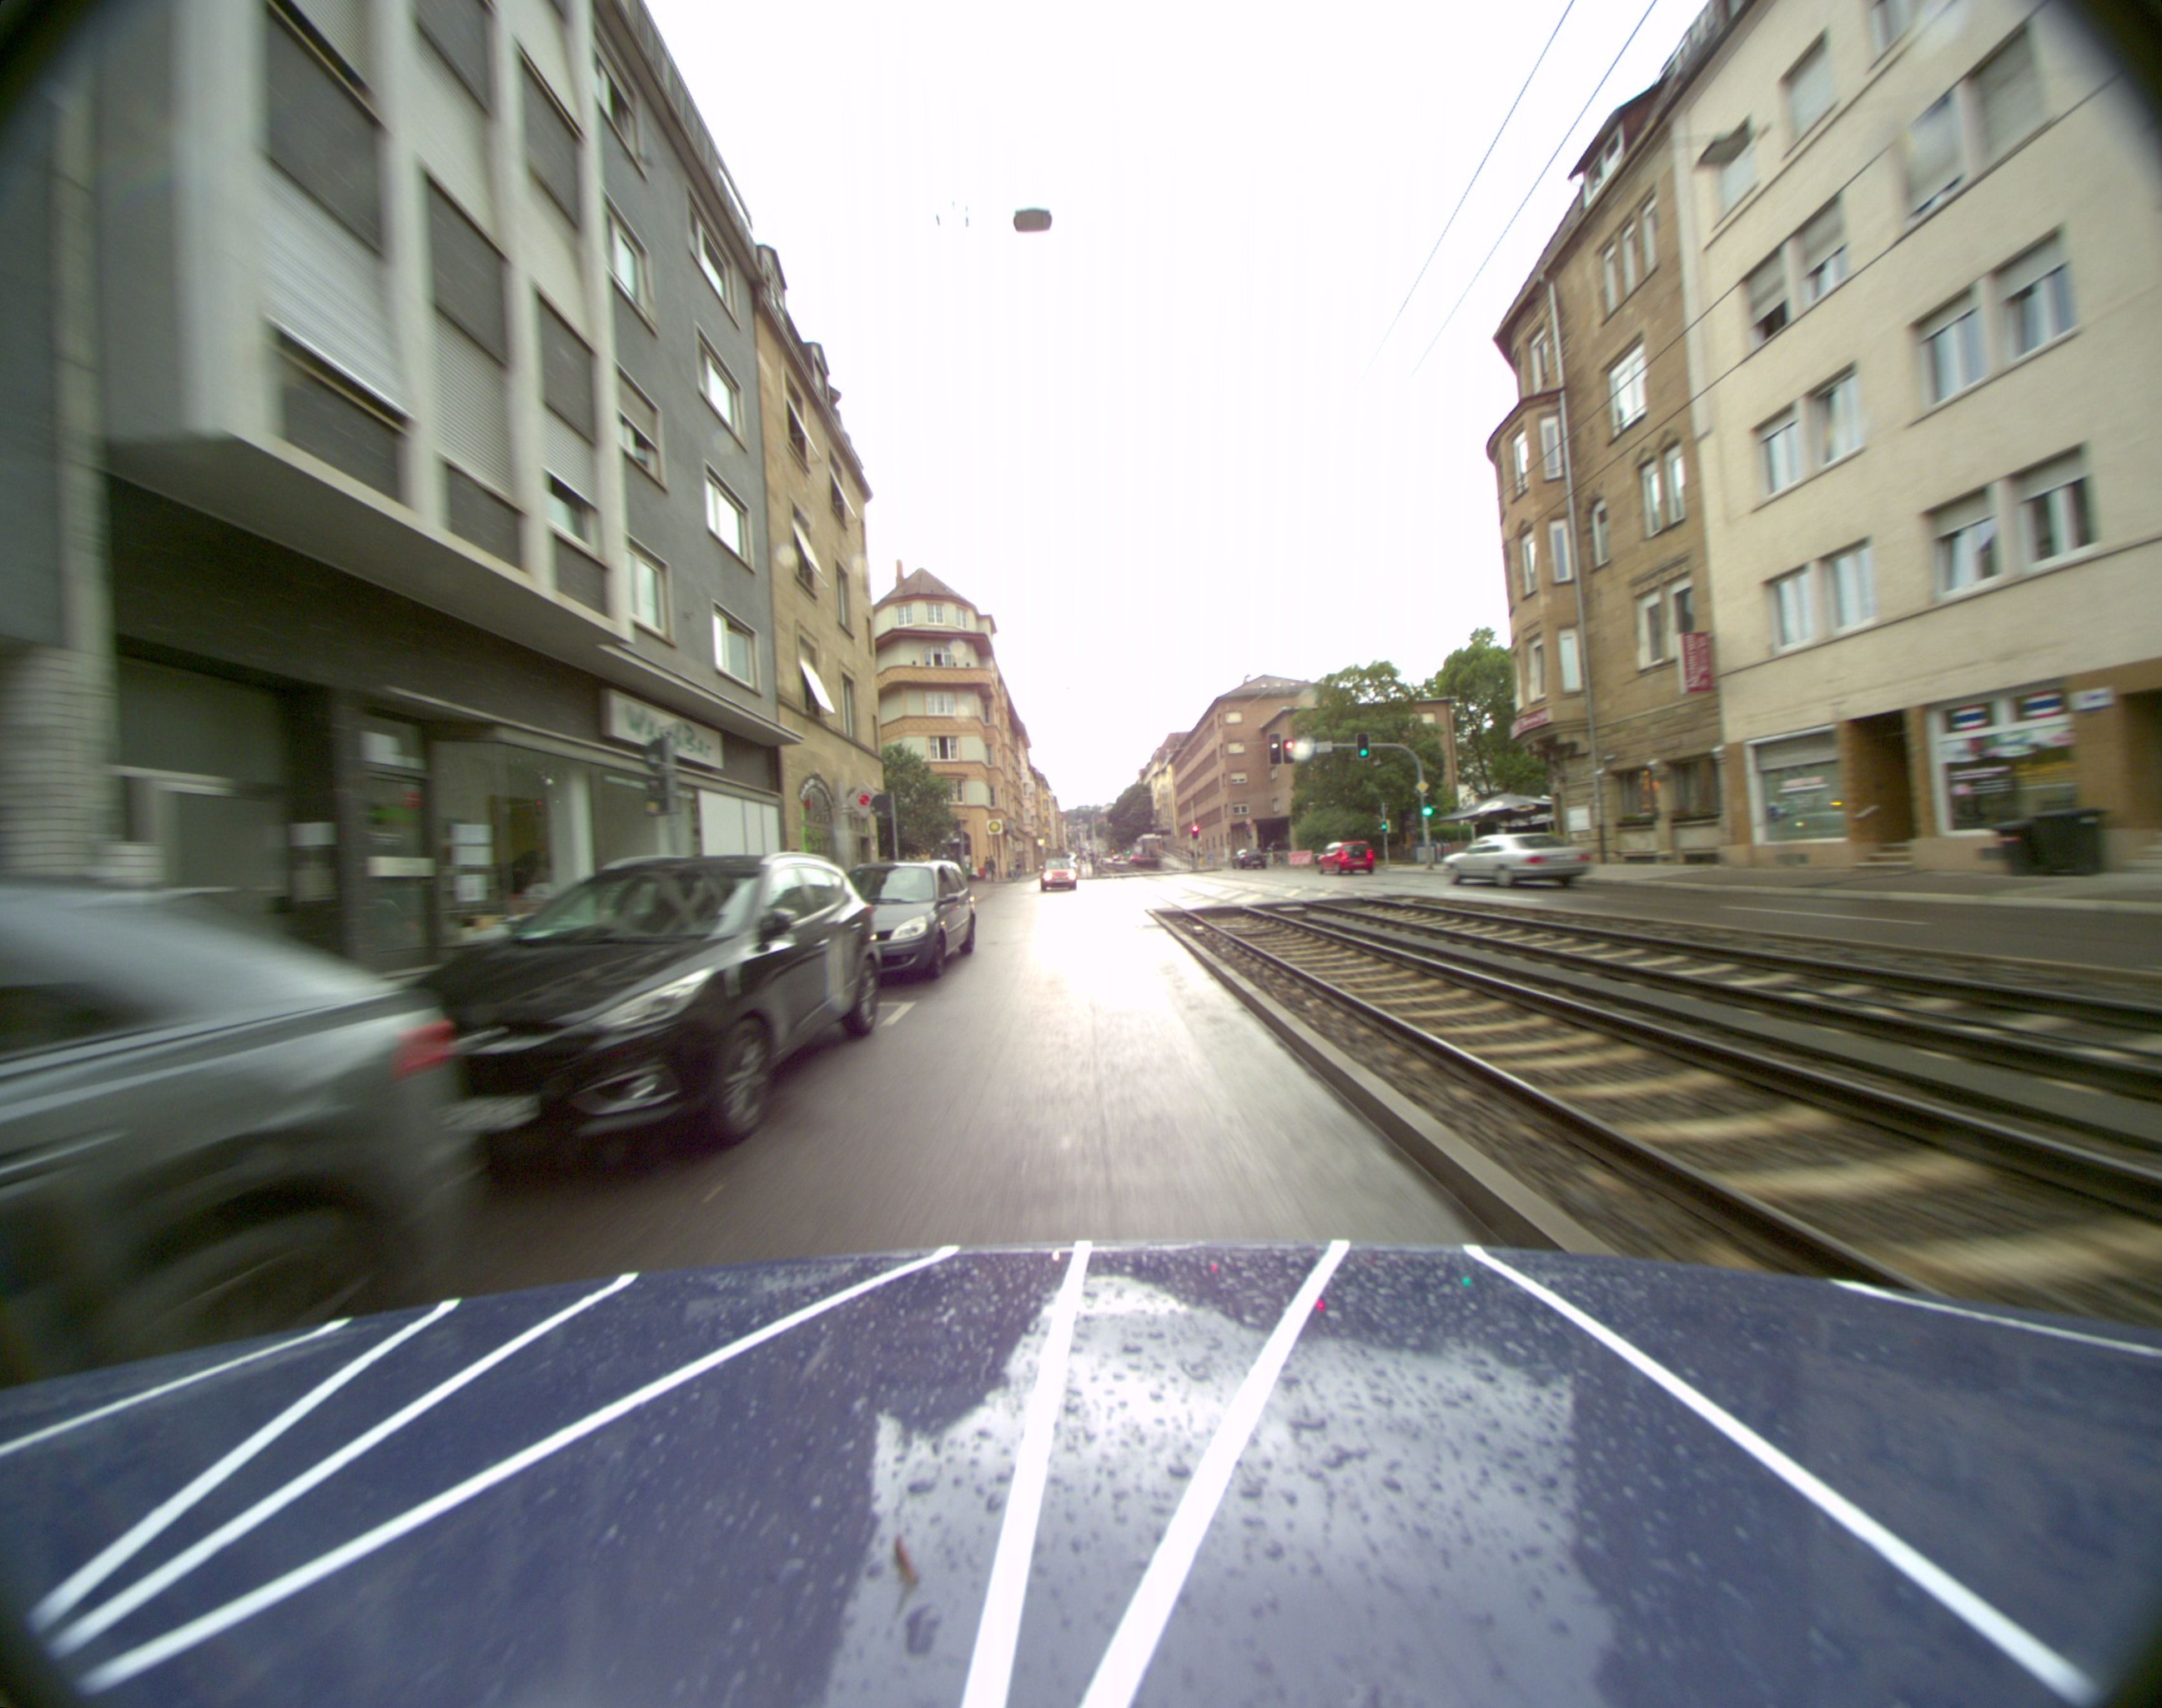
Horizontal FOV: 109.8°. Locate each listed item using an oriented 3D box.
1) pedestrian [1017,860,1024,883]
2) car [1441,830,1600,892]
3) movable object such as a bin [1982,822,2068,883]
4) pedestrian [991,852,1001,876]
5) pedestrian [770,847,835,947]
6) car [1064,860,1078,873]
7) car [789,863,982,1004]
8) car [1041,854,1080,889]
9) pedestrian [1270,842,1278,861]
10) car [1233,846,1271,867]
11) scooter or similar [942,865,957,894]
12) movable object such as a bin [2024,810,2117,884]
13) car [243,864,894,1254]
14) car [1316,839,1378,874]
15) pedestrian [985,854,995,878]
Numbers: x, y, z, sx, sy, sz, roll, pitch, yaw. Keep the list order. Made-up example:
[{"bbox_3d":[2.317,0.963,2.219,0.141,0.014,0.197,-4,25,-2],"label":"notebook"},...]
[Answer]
[{"bbox_3d":[-4.369,1.249,54.945,0.437,1.642,0.579,-3,1,-1],"label":"pedestrian"},{"bbox_3d":[11.938,0.159,21.061,1.717,1.452,4.643,-3,0,1],"label":"car"},{"bbox_3d":[15.855,-0.024,12.773,0.631,0.922,0.563,-8,1,0],"label":"movable object such as a bin"},{"bbox_3d":[-5.705,0.690,51.111,0.579,1.563,0.438,-3,1,-1],"label":"pedestrian"},{"bbox_3d":[-5.239,0.788,14.329,0.852,1.807,0.847,-1,1,0],"label":"pedestrian"},{"bbox_3d":[-1.550,1.991,121.582,2.135,2.002,4.328,-3,0,0],"label":"car"},{"bbox_3d":[-2.666,0.995,11.481,1.715,1.604,4.518,-1,0,0],"label":"car"},{"bbox_3d":[-0.940,0.801,36.770,1.683,1.531,4.018,-2,0,0],"label":"car"},{"bbox_3d":[17.461,-0.215,68.711,0.623,1.736,0.464,-1,1,-3],"label":"pedestrian"},{"bbox_3d":[12.092,0.179,54.085,1.781,1.328,3.945,-3,0,0],"label":"car"},{"bbox_3d":[-5.512,1.059,31.929,0.423,1.171,1.454,-3,0,-5],"label":"scooter or similar"},{"bbox_3d":[15.764,-0.105,12.118,0.631,1.074,0.563,-8,1,0],"label":"movable object such as a bin"},{"bbox_3d":[-2.810,0.948,5.530,1.822,1.645,4.250,-1,0,0],"label":"car"},{"bbox_3d":[12.097,0.102,34.730,1.631,1.442,3.387,-3,0,0],"label":"car"},{"bbox_3d":[-6.148,0.819,51.433,0.579,1.563,0.397,-3,1,-1],"label":"pedestrian"}]
